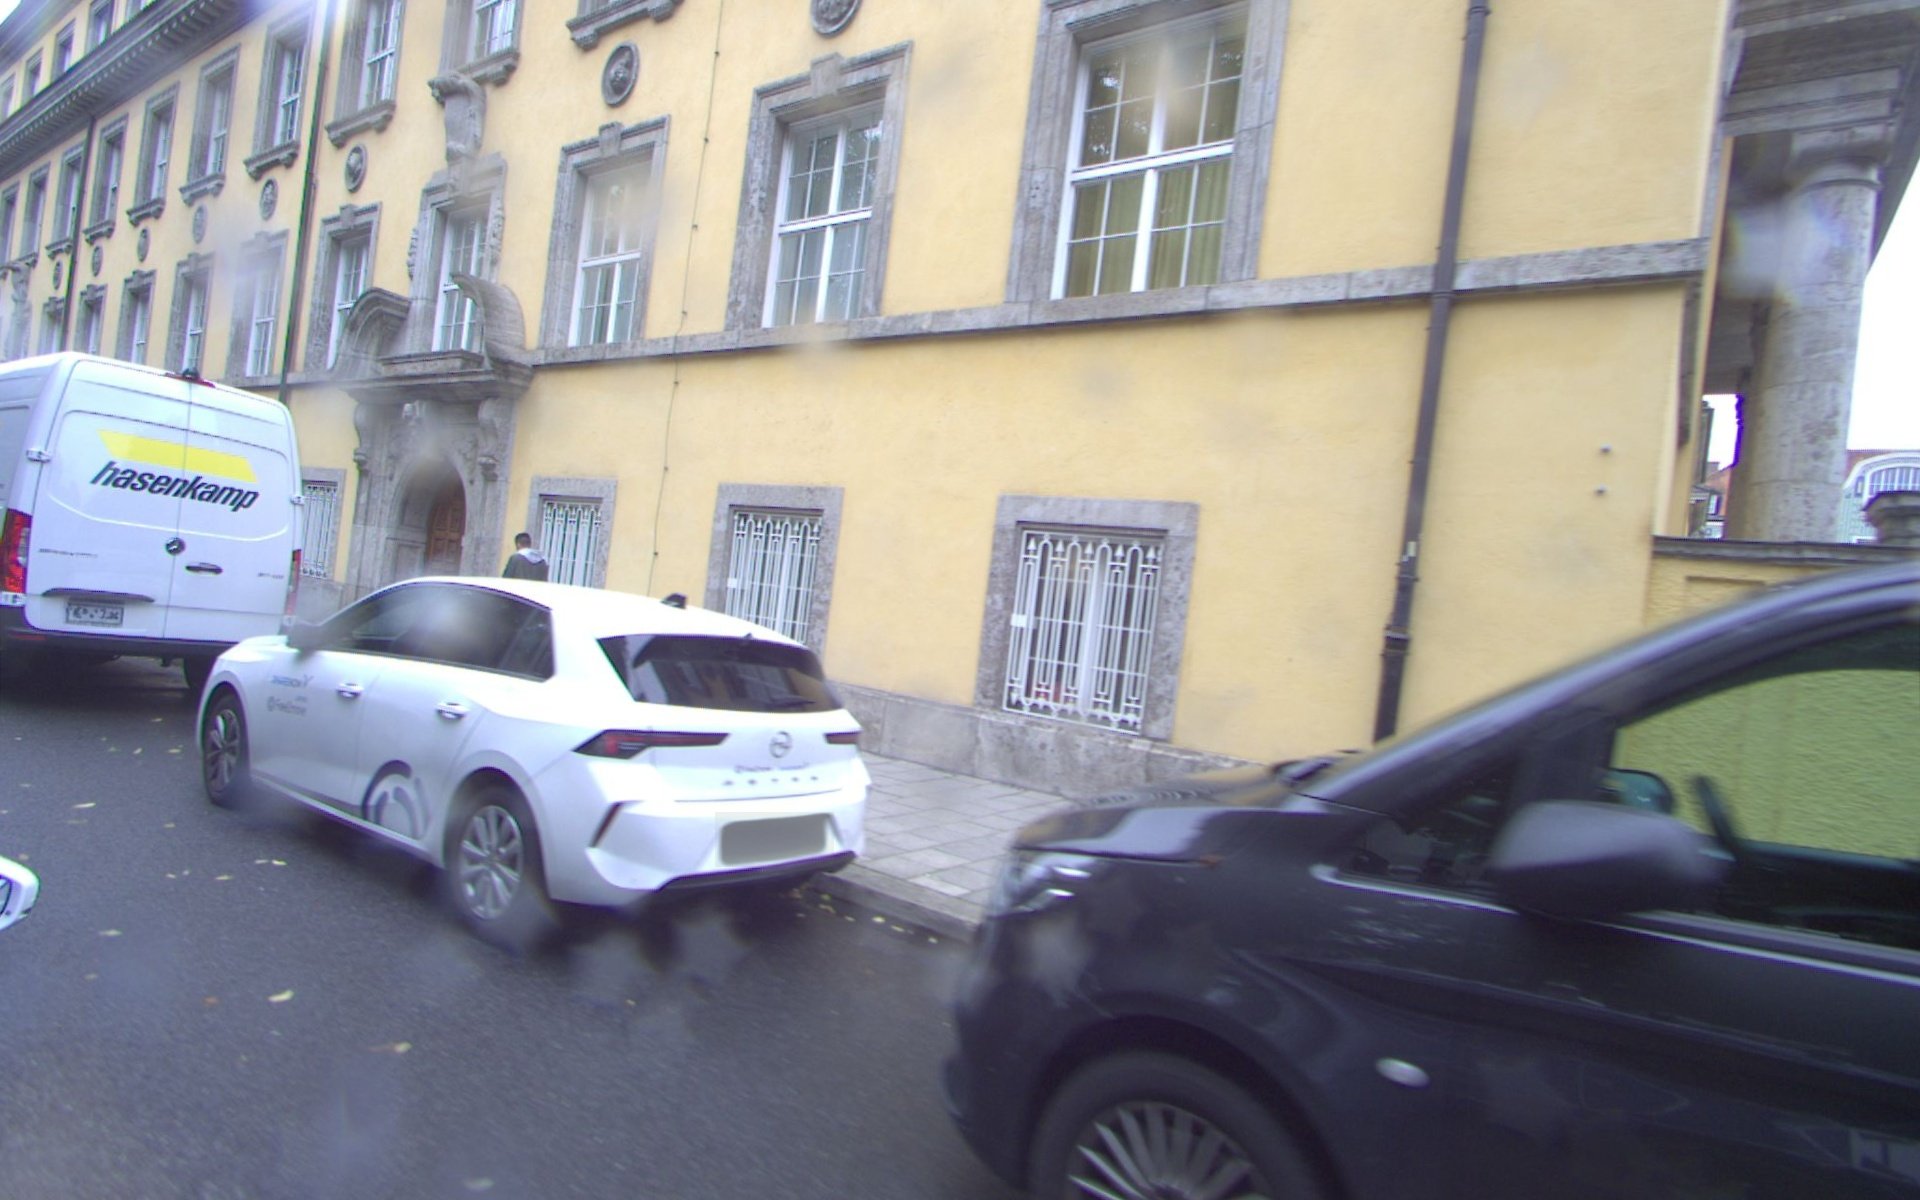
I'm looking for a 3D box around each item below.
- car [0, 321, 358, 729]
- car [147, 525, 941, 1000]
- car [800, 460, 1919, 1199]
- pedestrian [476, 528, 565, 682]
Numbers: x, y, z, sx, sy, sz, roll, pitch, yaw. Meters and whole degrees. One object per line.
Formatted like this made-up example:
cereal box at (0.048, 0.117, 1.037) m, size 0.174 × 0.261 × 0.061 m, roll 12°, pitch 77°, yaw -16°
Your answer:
car at (-8.786, -0.718, 9.589) m, size 7.493 × 2.705 × 2.056 m, roll 6°, pitch -1°, yaw 34°
car at (-2.407, 0.558, 5.447) m, size 4.187 × 1.475 × 1.872 m, roll 6°, pitch -1°, yaw 34°
car at (2.235, 0.889, 1.850) m, size 4.907 × 1.891 × 1.872 m, roll 6°, pitch -1°, yaw 34°
pedestrian at (-5.447, 0.068, 12.480) m, size 0.574 × 1.827 × 0.700 m, roll 6°, pitch 1°, yaw 35°
